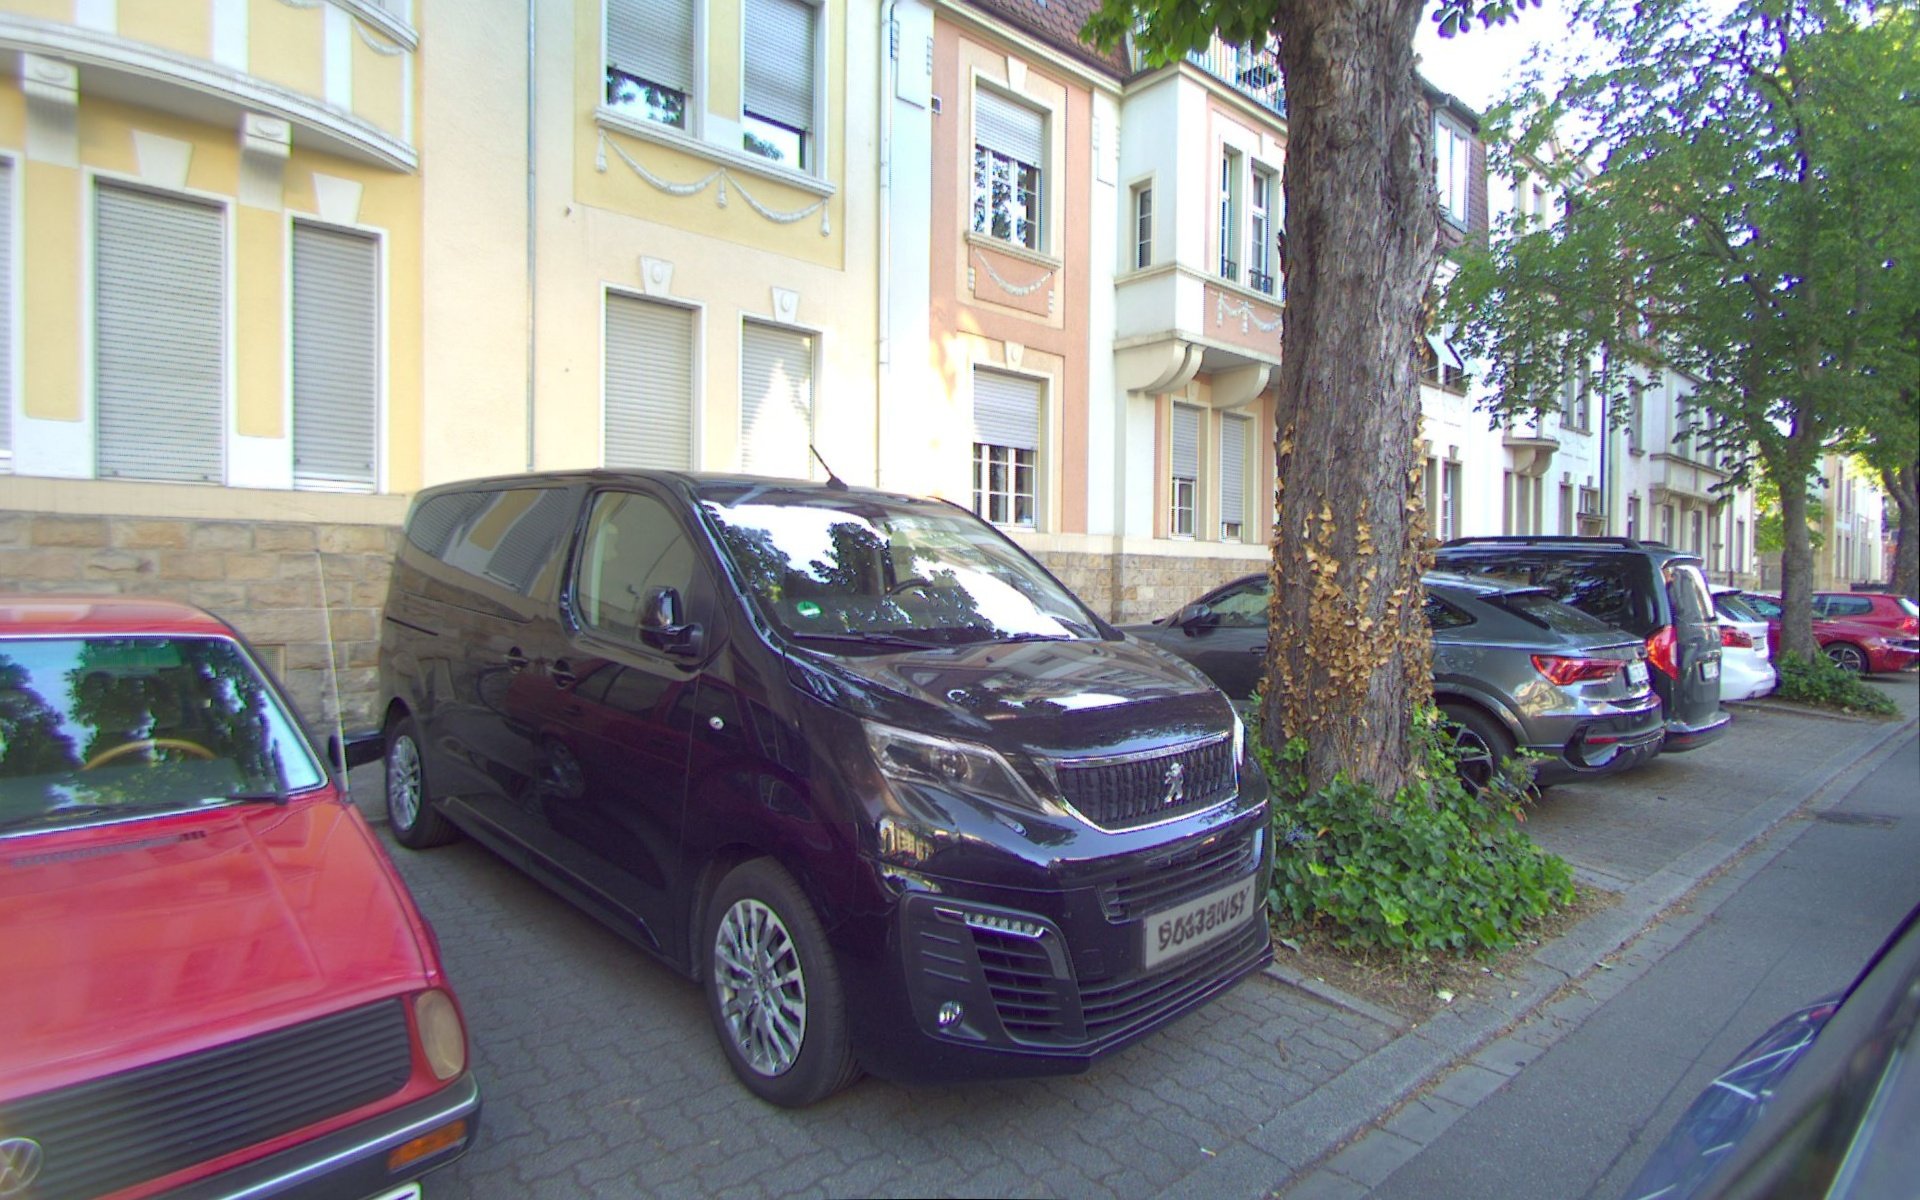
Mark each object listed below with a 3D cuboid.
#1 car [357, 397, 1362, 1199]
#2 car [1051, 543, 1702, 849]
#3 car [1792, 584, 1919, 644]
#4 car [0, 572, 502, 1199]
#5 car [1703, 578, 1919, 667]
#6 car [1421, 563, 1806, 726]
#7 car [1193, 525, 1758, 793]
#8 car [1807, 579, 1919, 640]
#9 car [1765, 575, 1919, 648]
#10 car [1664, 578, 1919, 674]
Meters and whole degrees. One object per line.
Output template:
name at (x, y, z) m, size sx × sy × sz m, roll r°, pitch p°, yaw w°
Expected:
car at (-0.991, 0.349, 4.527) m, size 1.851 × 1.846 × 4.825 m, roll -1°, pitch 4°, yaw -44°
car at (2.785, 0.421, 7.514) m, size 1.569 × 1.611 × 4.165 m, roll -1°, pitch 4°, yaw -44°
car at (24.054, 0.341, 26.223) m, size 1.511 × 1.420 × 3.621 m, roll 0°, pitch 3°, yaw -40°
car at (-2.811, 0.655, 2.972) m, size 1.532 × 1.336 × 3.917 m, roll -1°, pitch 4°, yaw -43°
car at (16.863, 0.376, 19.666) m, size 1.511 × 1.482 × 3.621 m, roll 0°, pitch 3°, yaw -40°
car at (7.730, 0.401, 12.194) m, size 1.513 × 1.569 × 3.616 m, roll -1°, pitch 3°, yaw -45°
car at (4.322, 0.283, 9.015) m, size 1.569 × 1.849 × 4.165 m, roll -1°, pitch 4°, yaw -44°
car at (25.951, 0.260, 27.999) m, size 1.511 × 1.584 × 3.621 m, roll 0°, pitch 2°, yaw -40°
car at (21.621, 0.249, 24.088) m, size 1.511 × 1.584 × 3.621 m, roll 0°, pitch 2°, yaw -40°
car at (14.953, 0.392, 18.060) m, size 1.511 × 1.420 × 3.621 m, roll 0°, pitch 3°, yaw -40°
